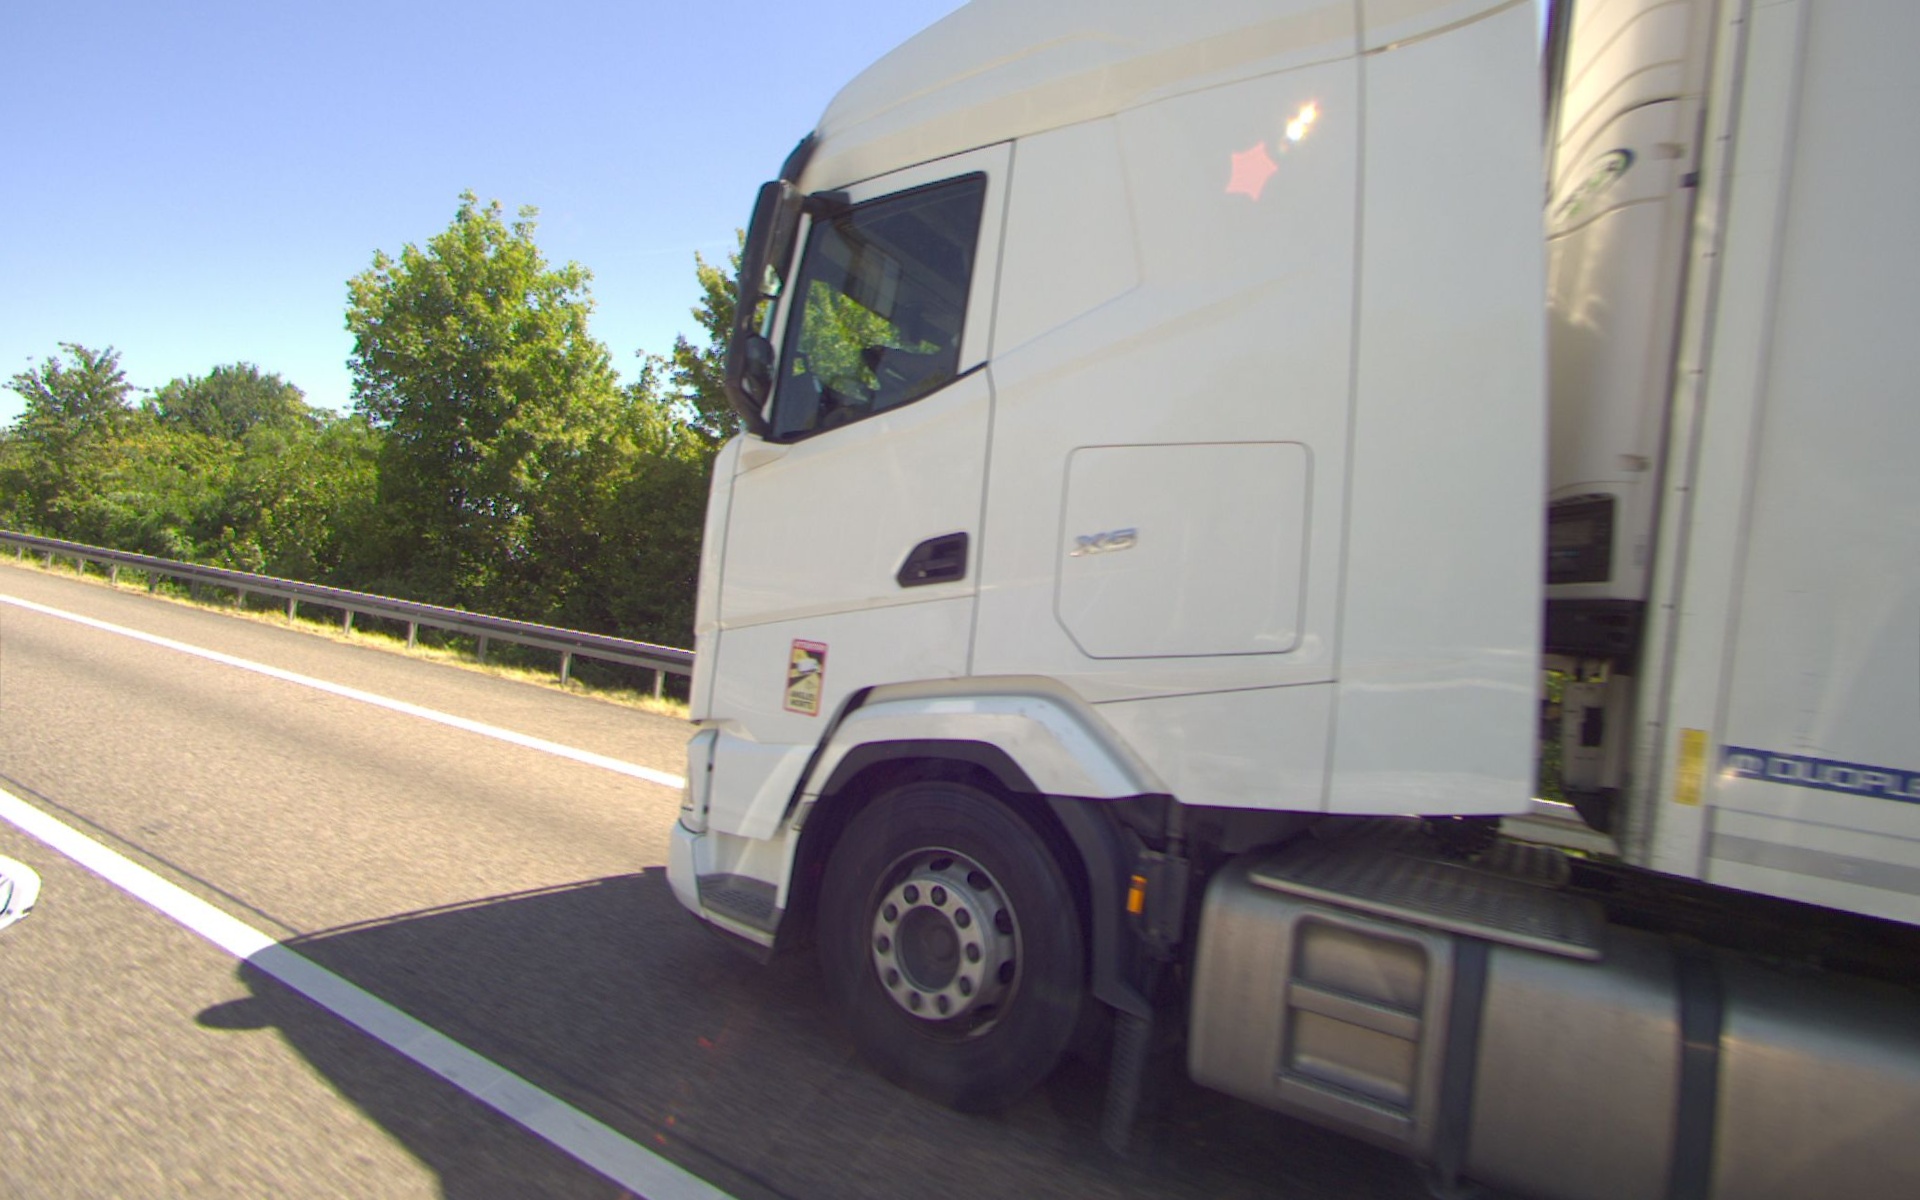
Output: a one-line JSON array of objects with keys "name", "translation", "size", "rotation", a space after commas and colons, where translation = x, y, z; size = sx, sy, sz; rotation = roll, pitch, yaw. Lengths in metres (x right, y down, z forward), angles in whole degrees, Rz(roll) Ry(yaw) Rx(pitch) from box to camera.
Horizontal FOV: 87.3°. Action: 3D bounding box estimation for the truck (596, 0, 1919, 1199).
[{"name": "truck", "translation": [2.307, -0.260, 3.226], "size": [6.103, 4.154, 2.964], "rotation": [7, -1, 31]}]
